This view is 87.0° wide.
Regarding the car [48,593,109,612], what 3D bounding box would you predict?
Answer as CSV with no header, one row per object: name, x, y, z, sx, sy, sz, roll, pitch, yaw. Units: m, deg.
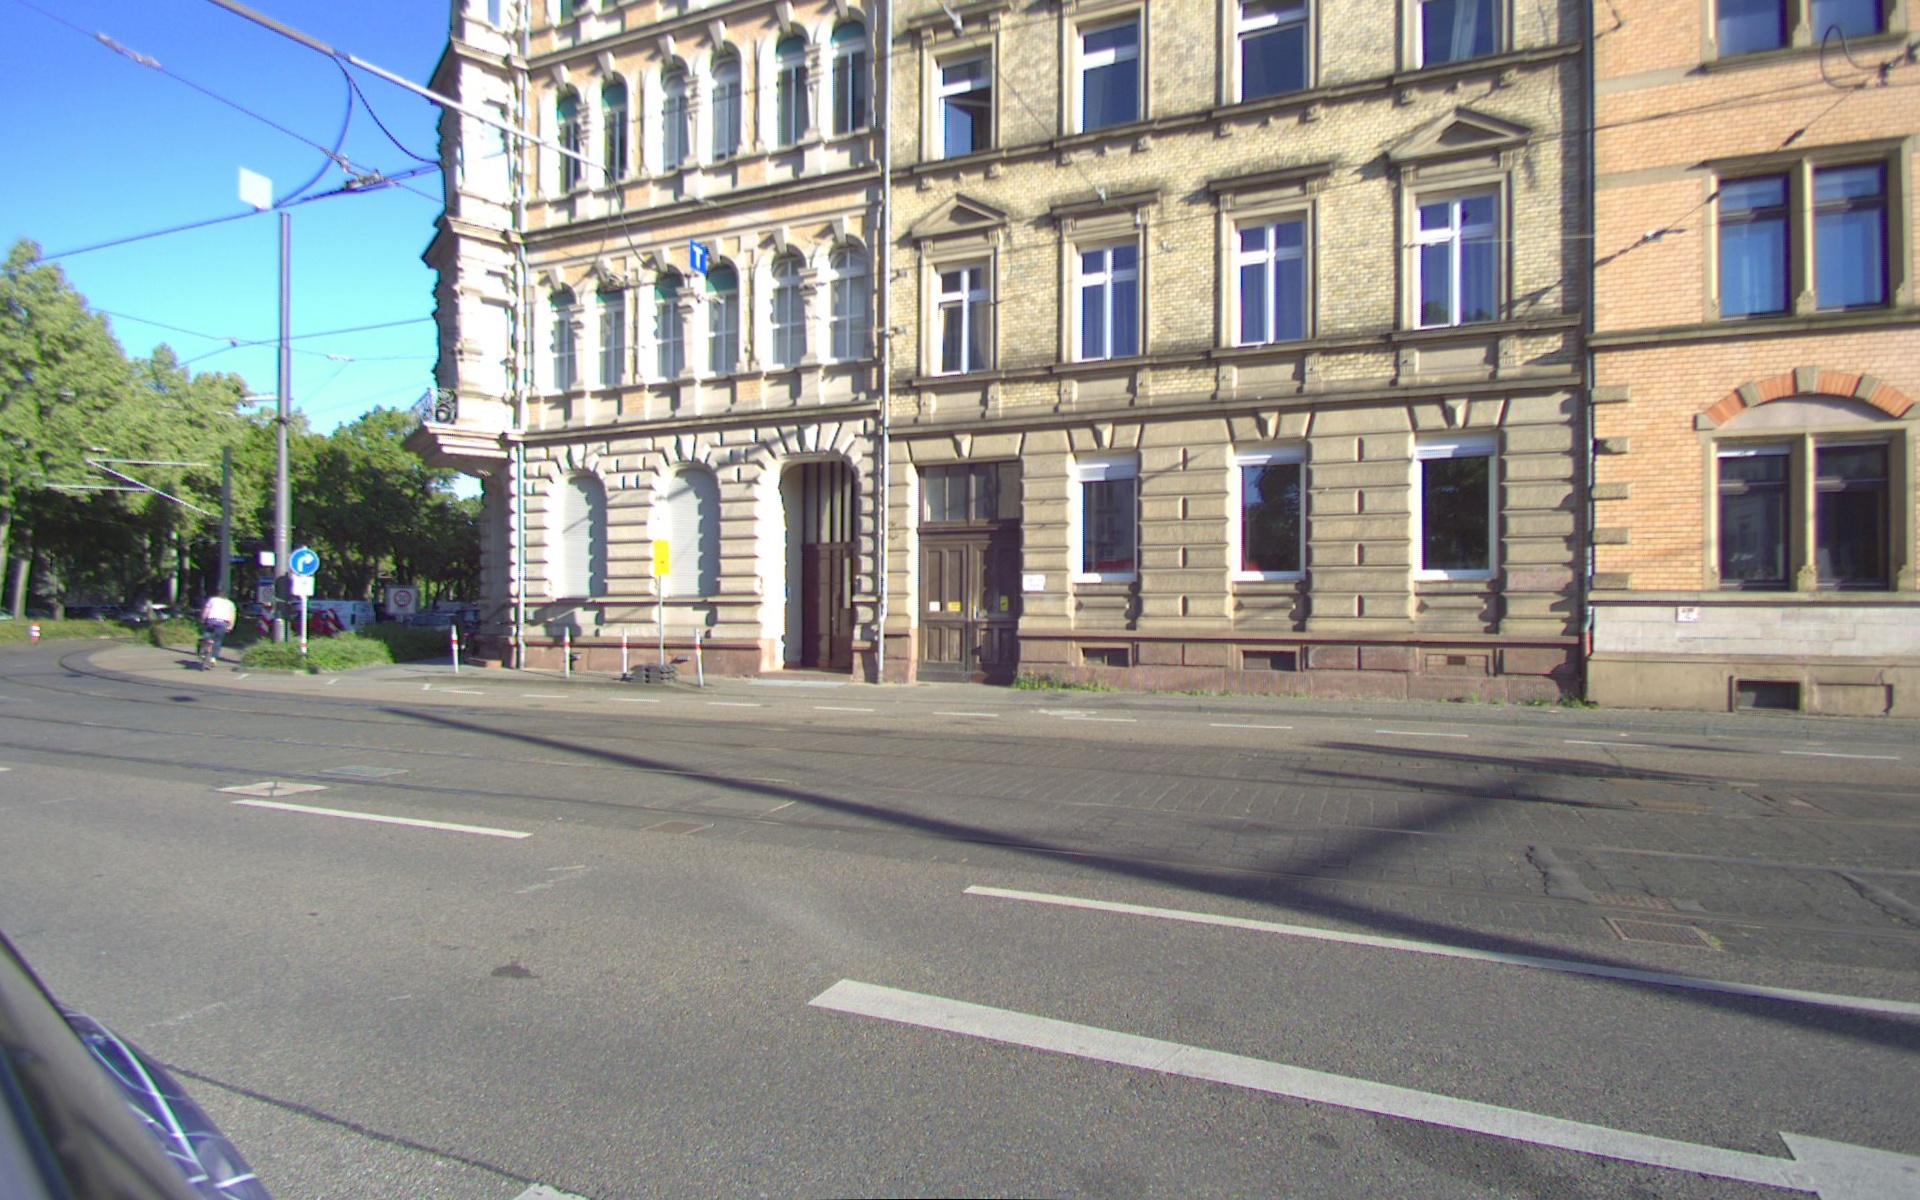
car,-81.589,0.229,93.701,3.940,1.763,1.886,0,-1,-3

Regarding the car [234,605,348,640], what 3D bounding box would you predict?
car,-30.278,1.019,45.883,3.942,1.519,1.869,0,-1,-1

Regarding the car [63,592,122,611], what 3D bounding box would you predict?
car,-82.502,0.168,96.295,3.940,1.763,1.886,0,-1,-3

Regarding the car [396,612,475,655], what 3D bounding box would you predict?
car,-18.553,1.157,35.932,1.709,1.425,3.443,0,-1,-14

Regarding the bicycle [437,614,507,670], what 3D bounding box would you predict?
bicycle,-11.857,0.989,24.702,0.635,1.275,2.691,0,-1,-6

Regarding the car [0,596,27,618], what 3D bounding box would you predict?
car,-77.776,0.554,81.087,4.386,1.763,1.998,0,-1,4

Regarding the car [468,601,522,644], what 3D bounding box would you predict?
car,-23.250,1.116,50.768,1.965,2.029,4.650,1,-1,-19

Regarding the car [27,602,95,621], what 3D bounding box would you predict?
car,-80.690,1.030,90.850,4.293,1.719,2.001,0,-1,-2

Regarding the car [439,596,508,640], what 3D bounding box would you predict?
car,-19.462,0.706,40.672,1.709,1.674,4.011,0,-1,-14

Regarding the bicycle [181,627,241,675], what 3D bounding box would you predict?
bicycle,-17.834,1.186,24.074,2.116,1.092,0.718,-2,-2,42

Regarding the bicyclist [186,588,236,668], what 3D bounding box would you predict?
bicyclist,-17.835,0.661,24.087,1.212,1.854,0.720,-2,-2,42

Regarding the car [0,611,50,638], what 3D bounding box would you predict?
car,-49.361,1.262,51.902,3.631,1.364,1.743,0,-1,-6

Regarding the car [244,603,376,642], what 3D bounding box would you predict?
car,-30.795,1.066,48.051,4.986,1.801,2.000,0,-1,-1

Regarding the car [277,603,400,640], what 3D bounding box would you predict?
car,-31.457,1.107,51.349,4.986,1.822,2.000,0,-1,-1
